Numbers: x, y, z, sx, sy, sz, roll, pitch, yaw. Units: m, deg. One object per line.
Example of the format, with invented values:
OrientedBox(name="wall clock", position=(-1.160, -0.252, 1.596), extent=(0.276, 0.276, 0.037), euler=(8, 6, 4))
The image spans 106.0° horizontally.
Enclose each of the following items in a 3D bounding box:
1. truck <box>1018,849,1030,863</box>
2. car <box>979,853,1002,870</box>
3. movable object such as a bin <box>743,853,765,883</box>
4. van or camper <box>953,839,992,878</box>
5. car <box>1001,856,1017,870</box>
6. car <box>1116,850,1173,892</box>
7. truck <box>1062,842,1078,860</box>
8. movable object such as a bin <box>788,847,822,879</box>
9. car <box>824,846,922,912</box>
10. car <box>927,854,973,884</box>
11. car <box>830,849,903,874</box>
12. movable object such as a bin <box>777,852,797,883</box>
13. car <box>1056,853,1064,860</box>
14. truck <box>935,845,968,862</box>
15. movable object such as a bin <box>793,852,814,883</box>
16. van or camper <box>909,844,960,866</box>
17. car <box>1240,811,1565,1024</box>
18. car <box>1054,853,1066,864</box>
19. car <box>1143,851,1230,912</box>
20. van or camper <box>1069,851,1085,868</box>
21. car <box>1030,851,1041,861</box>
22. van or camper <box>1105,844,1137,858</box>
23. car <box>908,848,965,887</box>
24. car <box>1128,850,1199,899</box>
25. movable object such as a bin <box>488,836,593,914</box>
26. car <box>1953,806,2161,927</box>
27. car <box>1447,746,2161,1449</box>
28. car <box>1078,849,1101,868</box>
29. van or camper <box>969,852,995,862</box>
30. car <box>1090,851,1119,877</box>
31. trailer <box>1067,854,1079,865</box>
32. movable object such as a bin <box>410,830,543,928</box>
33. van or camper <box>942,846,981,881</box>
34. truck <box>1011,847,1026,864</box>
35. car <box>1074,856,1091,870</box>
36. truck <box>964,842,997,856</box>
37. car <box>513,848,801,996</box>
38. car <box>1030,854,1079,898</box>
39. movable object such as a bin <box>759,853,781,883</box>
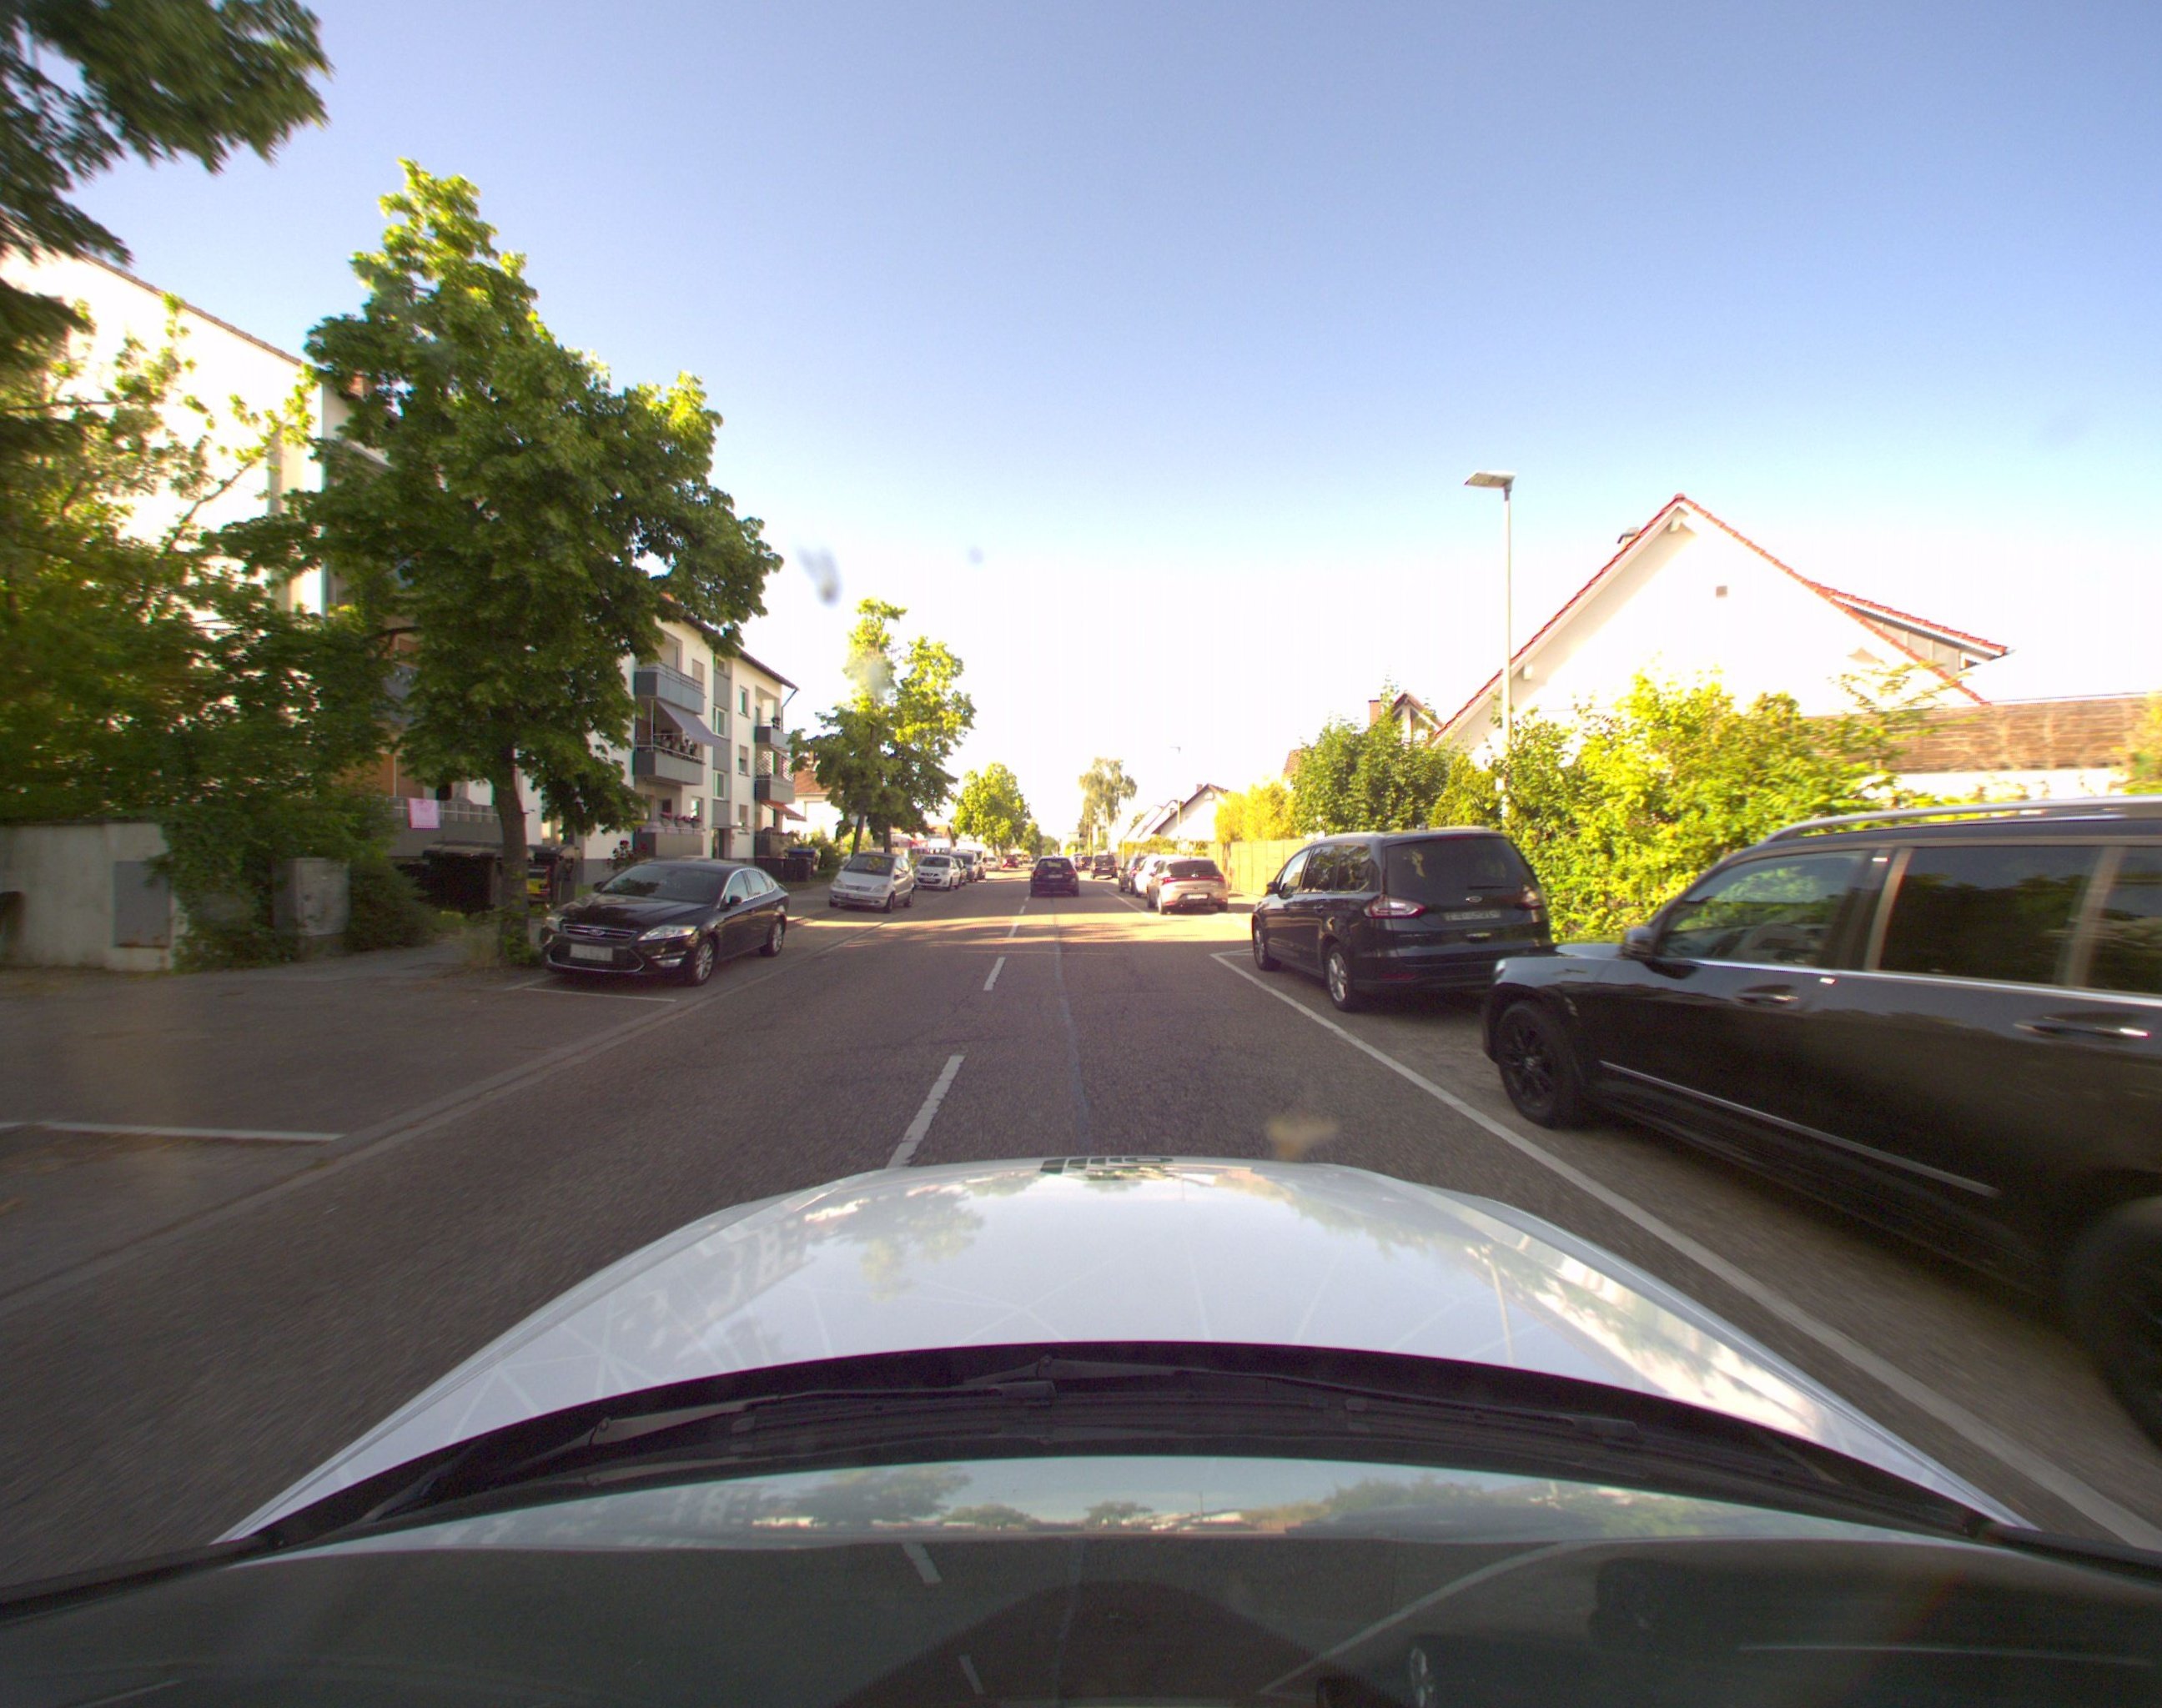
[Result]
OrientedBox(name="truck", position=(-12.715, 0.518, 182.032), extent=(2.396, 2.983, 6.368), euler=(2, 0, -2))
OrientedBox(name="car", position=(-8.495, 0.690, 77.028), extent=(1.682, 1.435, 4.207), euler=(2, 0, 0))
OrientedBox(name="movable object such as a bin", position=(-13.914, 0.596, 34.657), extent=(0.636, 1.279, 0.671), euler=(0, 0, 0))
OrientedBox(name="van or camper", position=(-7.401, 0.311, 56.079), extent=(2.118, 2.490, 5.549), euler=(2, 0, -3))
OrientedBox(name="car", position=(-9.170, 1.104, 104.012), extent=(1.799, 1.752, 4.338), euler=(2, 0, -2))
OrientedBox(name="car", position=(2.534, 0.650, 33.101), extent=(1.654, 1.601, 3.808), euler=(1, 0, -6))
OrientedBox(name="truck", position=(-1.959, -0.416, 140.633), extent=(2.397, 2.936, 7.009), euler=(-2, 0, -2))
OrientedBox(name="movable object such as a bin", position=(-12.857, 0.399, 37.971), extent=(1.227, 1.482, 1.116), euler=(0, 0, 0))
OrientedBox(name="car", position=(-5.924, 0.674, 23.695), extent=(1.716, 1.593, 3.908), euler=(5, 0, 0))
OrientedBox(name="car", position=(-6.733, 0.733, 42.213), extent=(1.604, 1.435, 4.313), euler=(3, 0, 0))
OrientedBox(name="car", position=(-13.604, 0.463, 51.826), extent=(1.594, 1.513, 4.416), euler=(0, 0, 38))
OrientedBox(name="movable object such as a bin", position=(-12.524, 0.573, 34.710), extent=(0.636, 1.279, 0.671), euler=(0, 0, 0))
OrientedBox(name="car", position=(-5.678, 0.581, 220.653), extent=(1.914, 1.825, 4.076), euler=(0, 0, -2))
OrientedBox(name="truck", position=(-24.684, -0.152, 155.294), extent=(5.636, 3.119, 2.529), euler=(2, 0, 8))
OrientedBox(name="movable object such as a bin", position=(-11.831, 0.574, 34.715), extent=(0.685, 1.279, 0.671), euler=(0, 0, 0))
OrientedBox(name="van or camper", position=(-15.826, 0.168, 88.162), extent=(4.862, 2.320, 2.250), euler=(0, -1, 10))
OrientedBox(name="car", position=(3.208, 0.536, 9.222), extent=(1.739, 1.813, 4.424), euler=(0, 0, -3))
OrientedBox(name="car", position=(-3.386, 0.706, 129.426), extent=(1.814, 1.670, 3.641), euler=(-1, -1, -1))
OrientedBox(name="car", position=(2.769, 0.681, 22.135), extent=(1.638, 1.494, 3.885), euler=(0, 0, -3))
OrientedBox(name="van or camper", position=(-0.441, 0.584, 94.091), extent=(1.714, 1.890, 4.176), euler=(0, 0, -2))
OrientedBox(name="car", position=(-8.959, 0.416, 160.963), extent=(1.889, 2.031, 4.814), euler=(-2, 0, -2))
OrientedBox(name="van or camper", position=(7.521, -0.512, 153.481), extent=(5.849, 2.541, 2.268), euler=(0, 0, -30))
OrientedBox(name="car", position=(-6.313, 0.568, 35.984), extent=(1.687, 1.566, 3.906), euler=(3, 0, 0))
OrientedBox(name="car", position=(2.826, 0.668, 28.646), extent=(1.722, 1.601, 3.808), euler=(1, 0, -6))
OrientedBox(name="movable object such as a bin", position=(-11.186, 0.417, 16.923), extent=(1.286, 1.543, 1.327), euler=(0, 0, -1))
OrientedBox(name="car", position=(16.751, 0.173, 12.320), extent=(4.415, 1.749, 1.998), euler=(-1, -1, 24))
OrientedBox(name="car", position=(3.397, 0.573, 3.239), extent=(1.758, 1.676, 4.390), euler=(0, 0, -3))
OrientedBox(name="car", position=(0.737, 0.432, 74.440), extent=(1.772, 1.659, 3.810), euler=(1, 0, -4))
OrientedBox(name="van or camper", position=(-18.742, 0.578, 154.530), extent=(4.523, 2.014, 2.253), euler=(0, 0, 4))
OrientedBox(name="car", position=(1.569, 0.671, 54.993), extent=(1.771, 1.659, 4.301), euler=(1, 0, -1))
OrientedBox(name="trailer", position=(-1.130, 0.773, 116.550), extent=(1.623, 1.538, 3.196), euler=(0, 0, -1))
OrientedBox(name="movable object such as a bin", position=(-10.711, 0.420, 14.513), extent=(1.409, 1.662, 1.267), euler=(0, 0, -1))
OrientedBox(name="van or camper", position=(-7.178, 0.574, 49.329), extent=(1.873, 2.013, 4.276), euler=(1, 0, -2))
OrientedBox(name="truck", position=(-11.503, 0.303, 150.467), extent=(2.398, 2.983, 7.236), euler=(2, 0, -3))
OrientedBox(name="car", position=(0.103, 0.984, 88.478), extent=(1.714, 1.505, 3.560), euler=(0, 0, -2))
OrientedBox(name="truck", position=(-19.410, -1.056, 158.036), extent=(5.887, 2.567, 2.229), euler=(1, 0, 9))
OrientedBox(name="car", position=(-5.460, 0.754, 11.289), extent=(1.718, 1.494, 4.537), euler=(5, 0, -4))
OrientedBox(name="car", position=(-0.968, 0.766, 30.425), extent=(1.707, 1.532, 3.685), euler=(0, 0, -1))
OrientedBox(name="movable object such as a bin", position=(-13.242, 0.585, 34.682), extent=(0.636, 1.279, 0.671), euler=(0, 0, 0))
